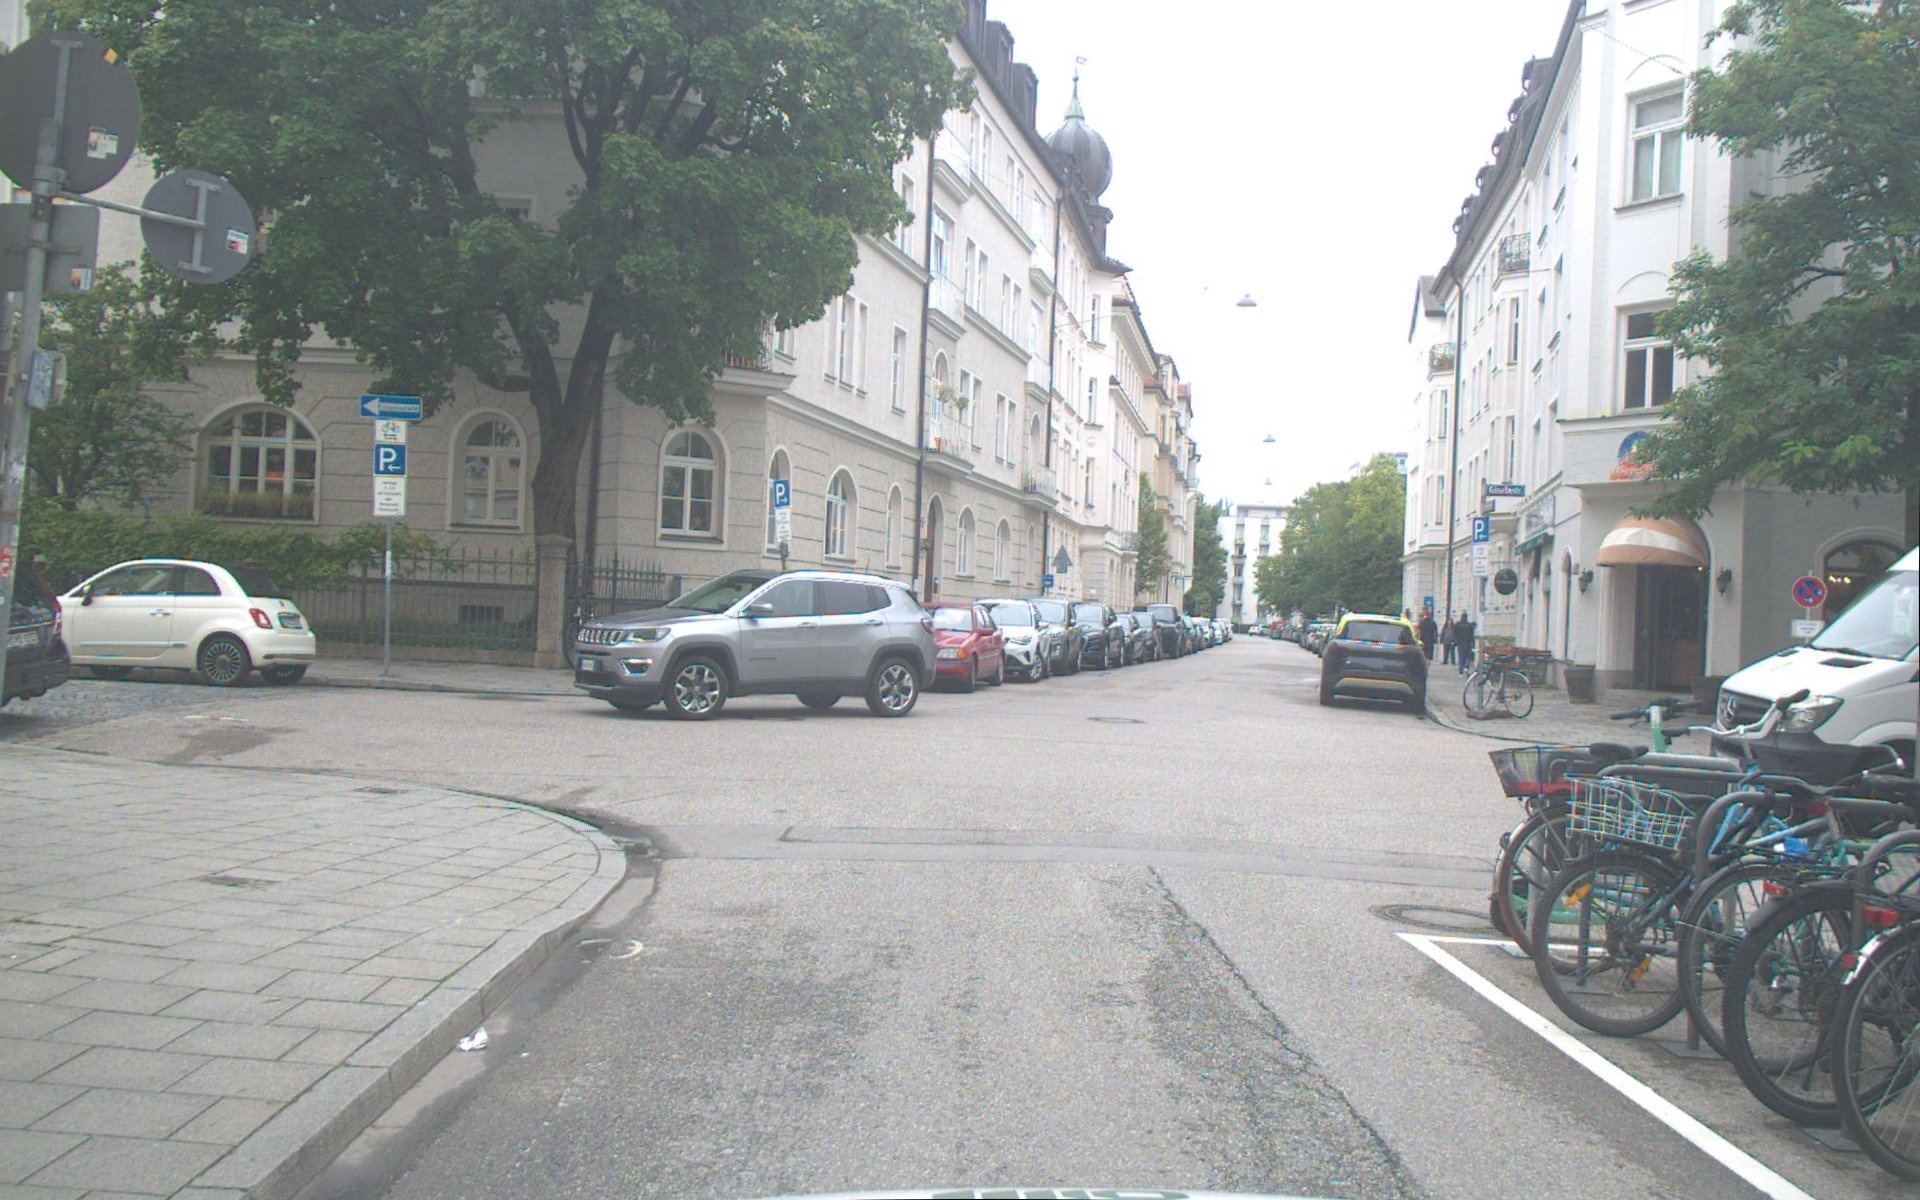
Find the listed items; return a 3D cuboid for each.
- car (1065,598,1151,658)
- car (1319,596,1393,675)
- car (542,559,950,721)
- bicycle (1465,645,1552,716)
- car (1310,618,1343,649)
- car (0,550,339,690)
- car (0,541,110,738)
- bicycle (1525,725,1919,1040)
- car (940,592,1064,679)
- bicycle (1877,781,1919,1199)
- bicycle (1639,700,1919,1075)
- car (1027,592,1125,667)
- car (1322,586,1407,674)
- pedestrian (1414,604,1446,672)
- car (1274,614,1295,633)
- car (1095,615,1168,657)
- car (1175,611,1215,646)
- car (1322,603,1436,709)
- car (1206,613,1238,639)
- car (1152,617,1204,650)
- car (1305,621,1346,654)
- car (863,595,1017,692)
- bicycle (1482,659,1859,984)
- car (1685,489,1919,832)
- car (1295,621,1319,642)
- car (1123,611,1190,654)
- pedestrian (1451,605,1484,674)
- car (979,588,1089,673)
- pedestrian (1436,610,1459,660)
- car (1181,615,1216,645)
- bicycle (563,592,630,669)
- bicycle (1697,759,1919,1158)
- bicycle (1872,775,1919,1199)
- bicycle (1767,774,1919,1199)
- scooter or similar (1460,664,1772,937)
[{"bbox_3d":[4.319,0.788,47.766,1.885,1.573,4.003,3,0,13],"label":"car"},{"bbox_3d":[10.973,0.971,46.024,1.782,1.956,4.186,4,0,12],"label":"car"},{"bbox_3d":[-2.370,0.444,18.955,4.269,1.635,1.935,2,0,-41],"label":"car"},{"bbox_3d":[8.731,1.266,26.410,0.529,1.016,1.751,-1,0,-11],"label":"bicycle"},{"bbox_3d":[25.578,2.334,115.545,1.951,2.017,4.897,3,0,10],"label":"car"},{"bbox_3d":[-9.937,0.218,20.302,3.903,1.474,1.686,3,0,4],"label":"car"},{"bbox_3d":[-10.045,0.223,14.437,4.245,1.541,1.904,3,4,1],"label":"car"},{"bbox_3d":[2.954,1.067,6.309,1.424,1.088,0.462,3,0,-9],"label":"bicycle"},{"bbox_3d":[0.890,0.659,32.163,1.951,1.499,4.221,2,0,7],"label":"car"},{"bbox_3d":[3.149,1.026,3.840,1.837,1.098,0.408,2,1,-5],"label":"bicycle"},{"bbox_3d":[3.199,1.011,5.864,1.424,1.228,0.394,3,0,-9],"label":"bicycle"},{"bbox_3d":[2.983,0.720,41.627,1.951,1.705,4.292,2,0,10],"label":"car"},{"bbox_3d":[9.860,0.724,40.529,1.782,1.903,4.292,4,0,12],"label":"car"},{"bbox_3d":[13.414,1.085,47.181,0.761,1.883,1.023,2,0,13],"label":"pedestrian"},{"bbox_3d":[35.580,2.566,181.477,1.951,2.017,4.897,3,0,9],"label":"car"},{"bbox_3d":[5.614,1.151,53.756,1.866,1.243,4.003,2,0,13],"label":"car"},{"bbox_3d":[11.539,1.398,81.101,1.782,1.601,4.003,2,0,10],"label":"car"},{"bbox_3d":[7.637,0.971,30.445,1.782,1.664,4.292,4,0,12],"label":"car"},{"bbox_3d":[17.077,1.665,107.713,1.951,1.601,4.003,2,0,10],"label":"car"},{"bbox_3d":[9.207,1.380,69.748,1.866,1.243,4.003,2,0,11],"label":"car"},{"bbox_3d":[19.305,1.941,87.416,1.866,1.604,4.003,2,0,10],"label":"car"},{"bbox_3d":[-0.247,0.678,27.311,1.694,1.402,4.230,2,0,11],"label":"car"},{"bbox_3d":[3.120,0.957,7.323,1.427,1.307,0.445,3,0,0],"label":"bicycle"},{"bbox_3d":[9.448,0.559,13.797,5.770,2.636,2.061,3,1,4],"label":"car"},{"bbox_3d":[29.918,2.713,142.641,1.908,1.681,4.003,1,-1,10],"label":"car"},{"bbox_3d":[6.929,1.126,58.141,1.866,1.352,4.003,2,0,13],"label":"car"},{"bbox_3d":[14.253,1.097,46.483,0.761,1.883,1.023,2,0,13],"label":"pedestrian"},{"bbox_3d":[1.718,0.650,36.944,1.951,1.705,4.015,2,0,9],"label":"car"},{"bbox_3d":[18.757,1.341,63.627,0.762,1.883,0.859,2,0,20],"label":"pedestrian"},{"bbox_3d":[12.551,1.567,86.980,1.697,1.444,4.003,2,0,9],"label":"car"},{"bbox_3d":[-5.620,0.454,25.630,0.483,1.070,1.828,2,2,4],"label":"bicycle"},{"bbox_3d":[3.224,1.092,5.081,1.706,1.098,0.452,2,1,-5],"label":"bicycle"},{"bbox_3d":[3.255,1.051,4.282,1.581,1.098,0.377,2,1,-5],"label":"bicycle"},{"bbox_3d":[3.178,1.089,4.665,1.641,1.098,0.336,2,1,-5],"label":"bicycle"},{"bbox_3d":[3.203,0.967,8.122,1.325,1.231,0.417,3,0,0],"label":"scooter or similar"}]
